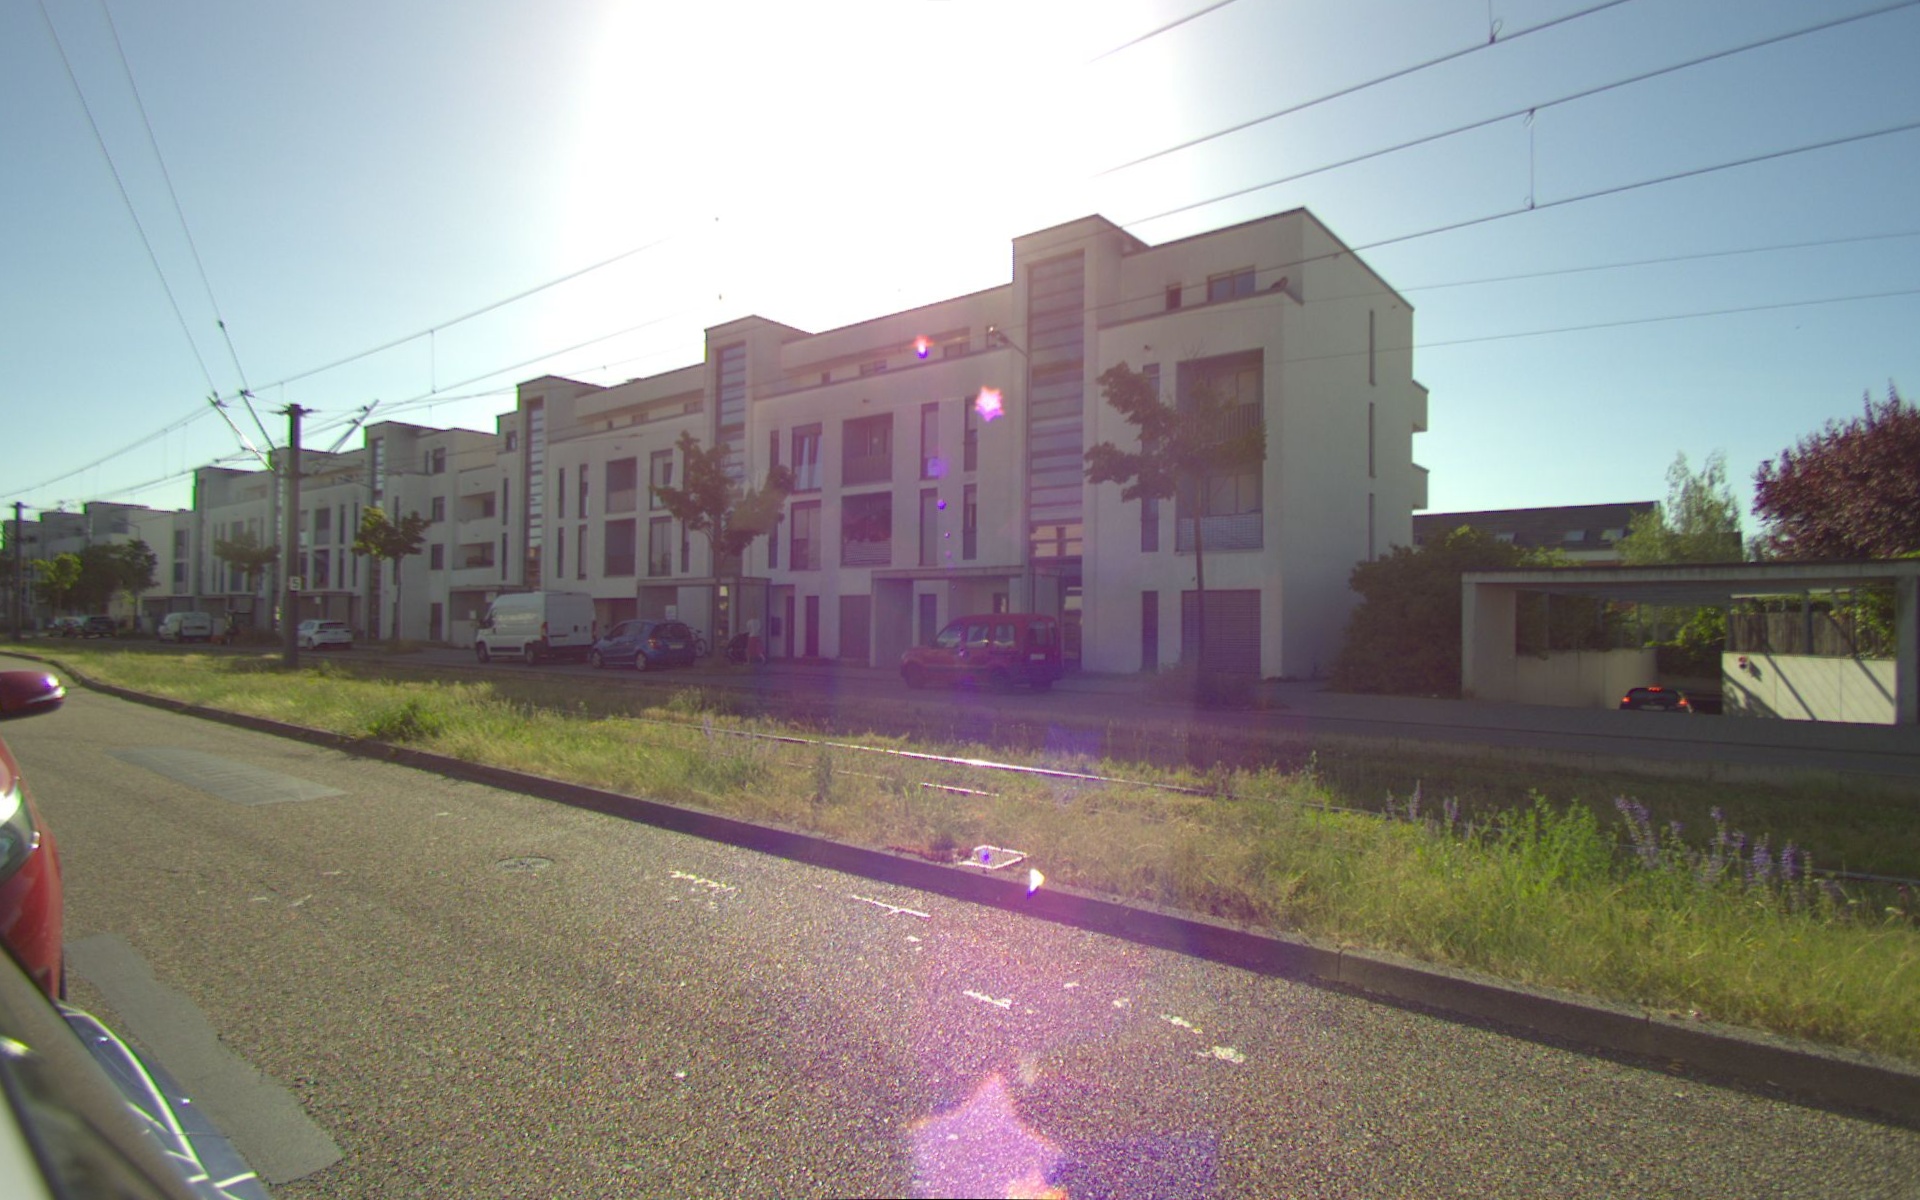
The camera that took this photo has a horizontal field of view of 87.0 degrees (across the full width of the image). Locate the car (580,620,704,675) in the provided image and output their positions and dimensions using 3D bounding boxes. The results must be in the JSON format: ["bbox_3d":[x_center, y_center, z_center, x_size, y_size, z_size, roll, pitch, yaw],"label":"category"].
[{"bbox_3d":[-10.001,1.451,31.747,3.833,1.556,1.973,-1,0,40],"label":"car"}]

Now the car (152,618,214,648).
[{"bbox_3d":[-47.357,1.965,61.632,4.277,1.693,1.900,-1,0,37],"label":"car"}]

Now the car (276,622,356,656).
[{"bbox_3d":[-31.137,1.842,48.906,4.277,1.517,1.900,-1,0,37],"label":"car"}]

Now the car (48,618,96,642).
[{"bbox_3d":[-67.524,2.259,76.937,4.277,1.693,1.900,-1,0,37],"label":"car"}]

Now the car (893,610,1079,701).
[{"bbox_3d":[0.537,1.171,23.027,3.895,1.842,1.972,-1,0,43],"label":"car"}]

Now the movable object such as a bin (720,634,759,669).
[{"bbox_3d":[-7.125,1.648,32.676,1.083,1.062,0.719,-1,0,42],"label":"movable object such as a bin"}]

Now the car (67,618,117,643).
[{"bbox_3d":[-62.979,2.168,73.413,4.277,1.693,1.900,-1,0,37],"label":"car"}]

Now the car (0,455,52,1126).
[{"bbox_3d":[-4.904,0.558,3.687,4.505,1.868,1.850,-1,0,41],"label":"car"}]

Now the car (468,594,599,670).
[{"bbox_3d":[-15.196,1.078,35.952,5.193,2.491,2.197,-1,0,40],"label":"car"}]

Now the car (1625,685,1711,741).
[{"bbox_3d":[19.473,3.128,27.760,1.575,1.337,3.946,-1,-7,40],"label":"car"}]

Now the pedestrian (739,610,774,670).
[{"bbox_3d":[-6.436,1.255,32.052,0.785,1.836,0.766,-1,0,41],"label":"pedestrian"}]
